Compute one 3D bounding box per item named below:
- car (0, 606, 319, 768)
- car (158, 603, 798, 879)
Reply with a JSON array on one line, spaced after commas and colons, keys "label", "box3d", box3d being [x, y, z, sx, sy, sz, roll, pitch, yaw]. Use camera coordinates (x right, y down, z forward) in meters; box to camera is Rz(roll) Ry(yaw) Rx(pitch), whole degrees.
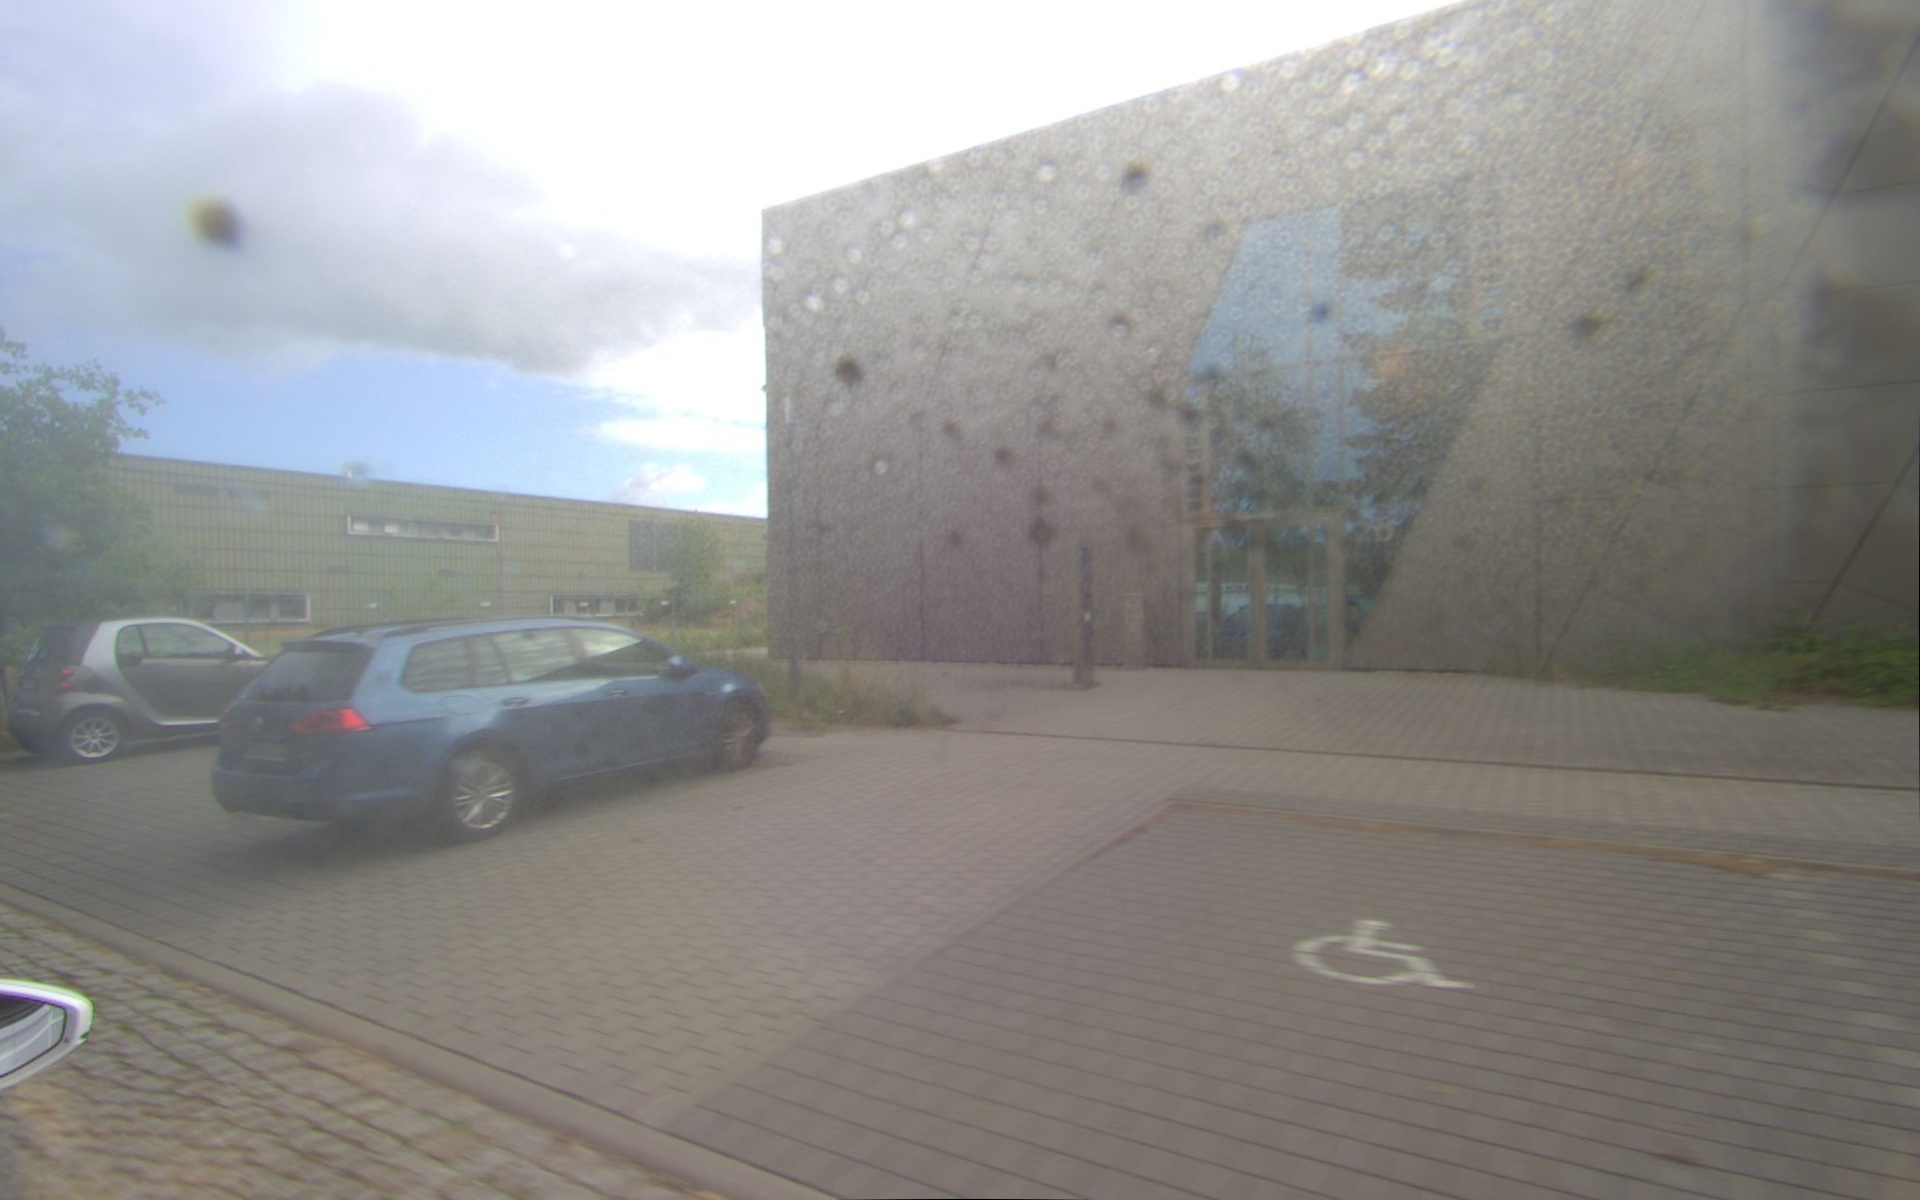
[{"label": "car", "box3d": [-9.579, 0.928, 12.007, 1.630, 1.577, 2.703, -1, 2, 32]}, {"label": "car", "box3d": [-3.444, 0.835, 8.186, 1.802, 1.495, 4.484, -1, 1, 29]}]
